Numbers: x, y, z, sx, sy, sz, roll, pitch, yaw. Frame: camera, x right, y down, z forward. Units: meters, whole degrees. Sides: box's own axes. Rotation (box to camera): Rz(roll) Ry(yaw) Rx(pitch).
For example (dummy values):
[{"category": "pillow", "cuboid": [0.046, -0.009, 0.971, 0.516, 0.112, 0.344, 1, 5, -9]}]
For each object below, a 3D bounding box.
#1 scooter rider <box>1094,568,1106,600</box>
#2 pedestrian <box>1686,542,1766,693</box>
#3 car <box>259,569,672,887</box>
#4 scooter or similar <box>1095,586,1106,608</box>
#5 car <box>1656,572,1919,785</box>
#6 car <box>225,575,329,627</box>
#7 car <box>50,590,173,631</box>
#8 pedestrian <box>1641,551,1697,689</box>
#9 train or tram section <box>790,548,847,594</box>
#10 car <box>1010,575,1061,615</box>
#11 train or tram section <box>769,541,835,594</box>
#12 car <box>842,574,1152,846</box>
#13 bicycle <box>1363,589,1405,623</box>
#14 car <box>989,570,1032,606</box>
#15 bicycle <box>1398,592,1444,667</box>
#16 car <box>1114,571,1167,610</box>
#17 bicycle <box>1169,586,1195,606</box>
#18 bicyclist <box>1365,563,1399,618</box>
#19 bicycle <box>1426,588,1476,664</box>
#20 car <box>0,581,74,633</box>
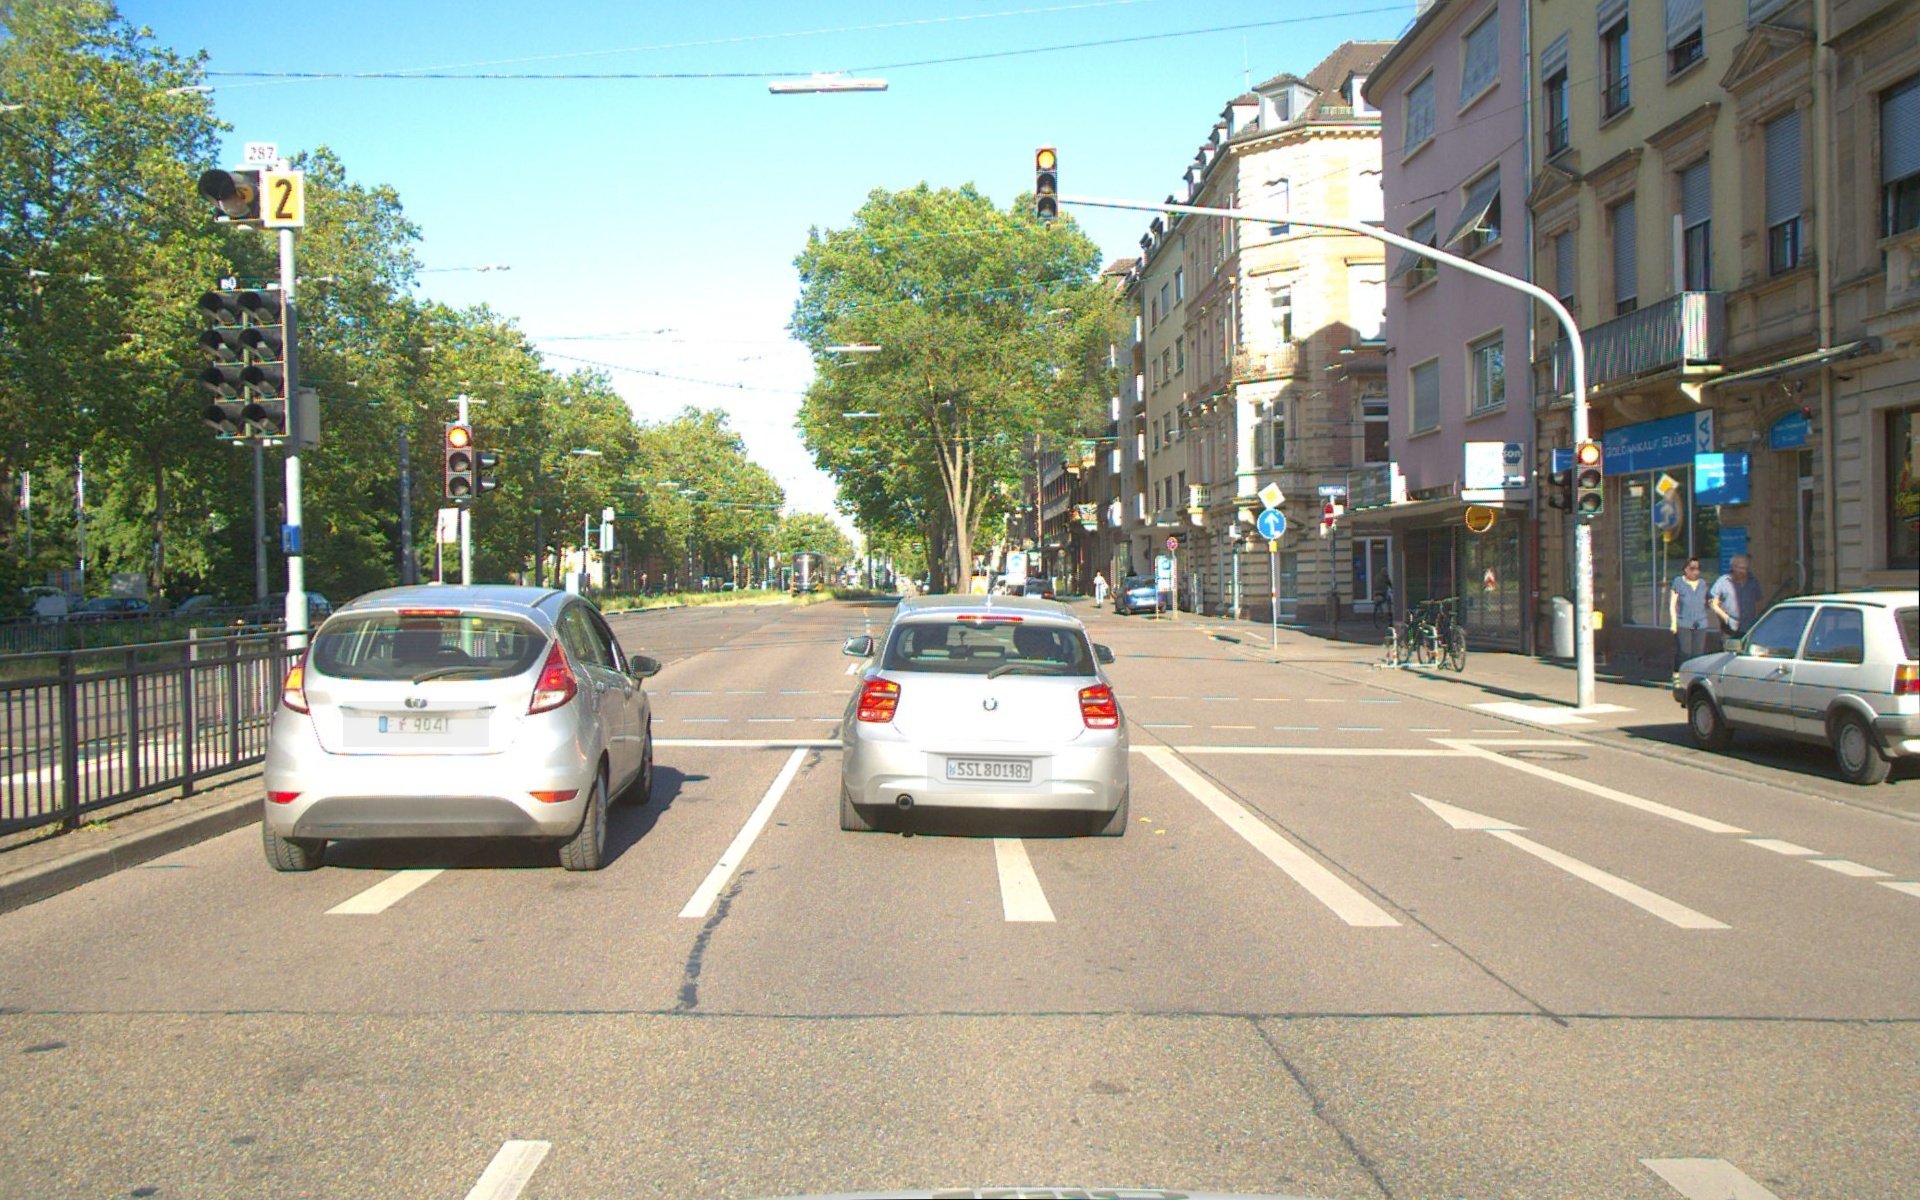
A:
[{"category": "scooter rider", "cuboid": [6.720, -0.765, 79.193, 0.455, 1.531, 0.811, 0, 0, 13]}, {"category": "pedestrian", "cuboid": [9.720, 0.215, 20.996, 0.659, 1.837, 0.530, -4, 1, -1]}, {"category": "car", "cuboid": [-2.689, 0.572, 9.840, 1.578, 1.493, 3.886, -1, 1, -5]}, {"category": "scooter or similar", "cuboid": [6.731, -0.157, 79.203, 0.330, 1.005, 1.285, 0, 1, 13]}, {"category": "car", "cuboid": [7.575, 0.534, 14.029, 1.531, 1.440, 4.003, -4, 1, -1]}, {"category": "car", "cuboid": [-21.129, -0.003, 51.324, 1.650, 1.525, 4.340, -1, 1, -4]}, {"category": "car", "cuboid": [-29.425, 0.357, 57.538, 1.897, 1.372, 4.847, 0, 0, -2]}, {"category": "pedestrian", "cuboid": [9.070, 0.253, 21.163, 0.538, 1.738, 0.388, -1, 1, 2]}, {"category": "train or tram section", "cuboid": [-12.774, -2.655, 151.327, 3.924, 3.933, 17.487, 0, 1, -1]}, {"category": "car", "cuboid": [2.808, -0.208, 61.926, 1.700, 1.458, 3.678, 1, 1, 0]}, {"category": "train or tram section", "cuboid": [-12.620, -2.598, 133.889, 3.888, 3.933, 17.487, 0, 1, -1]}, {"category": "car", "cuboid": [0.178, 0.584, 11.222, 1.705, 1.492, 4.000, 1, 1, -1]}, {"category": "bicycle", "cuboid": [11.873, 0.159, 46.283, 0.642, 0.919, 1.331, 0, 1, 41]}, {"category": "car", "cuboid": [2.208, -0.544, 73.111, 1.690, 1.533, 3.554, 1, 1, -2]}, {"category": "bicycle", "cuboid": [7.560, 0.469, 27.173, 0.405, 1.160, 1.811, 0, 1, 5]}, {"category": "car", "cuboid": [7.364, -0.406, 67.784, 1.700, 1.546, 3.635, 1, 1, -2]}, {"category": "bicycle", "cuboid": [9.139, -0.156, 68.134, 0.739, 0.784, 1.945, 0, 1, -2]}, {"category": "bicyclist", "cuboid": [11.814, -0.268, 46.266, 0.538, 1.528, 0.956, 0, 1, 40]}, {"category": "bicycle", "cuboid": [8.050, 0.403, 27.176, 0.439, 1.179, 1.759, -1, 1, 5]}, {"category": "car", "cuboid": [-29.378, 0.186, 51.351, 1.636, 1.536, 4.143, 0, 1, -2]}]
